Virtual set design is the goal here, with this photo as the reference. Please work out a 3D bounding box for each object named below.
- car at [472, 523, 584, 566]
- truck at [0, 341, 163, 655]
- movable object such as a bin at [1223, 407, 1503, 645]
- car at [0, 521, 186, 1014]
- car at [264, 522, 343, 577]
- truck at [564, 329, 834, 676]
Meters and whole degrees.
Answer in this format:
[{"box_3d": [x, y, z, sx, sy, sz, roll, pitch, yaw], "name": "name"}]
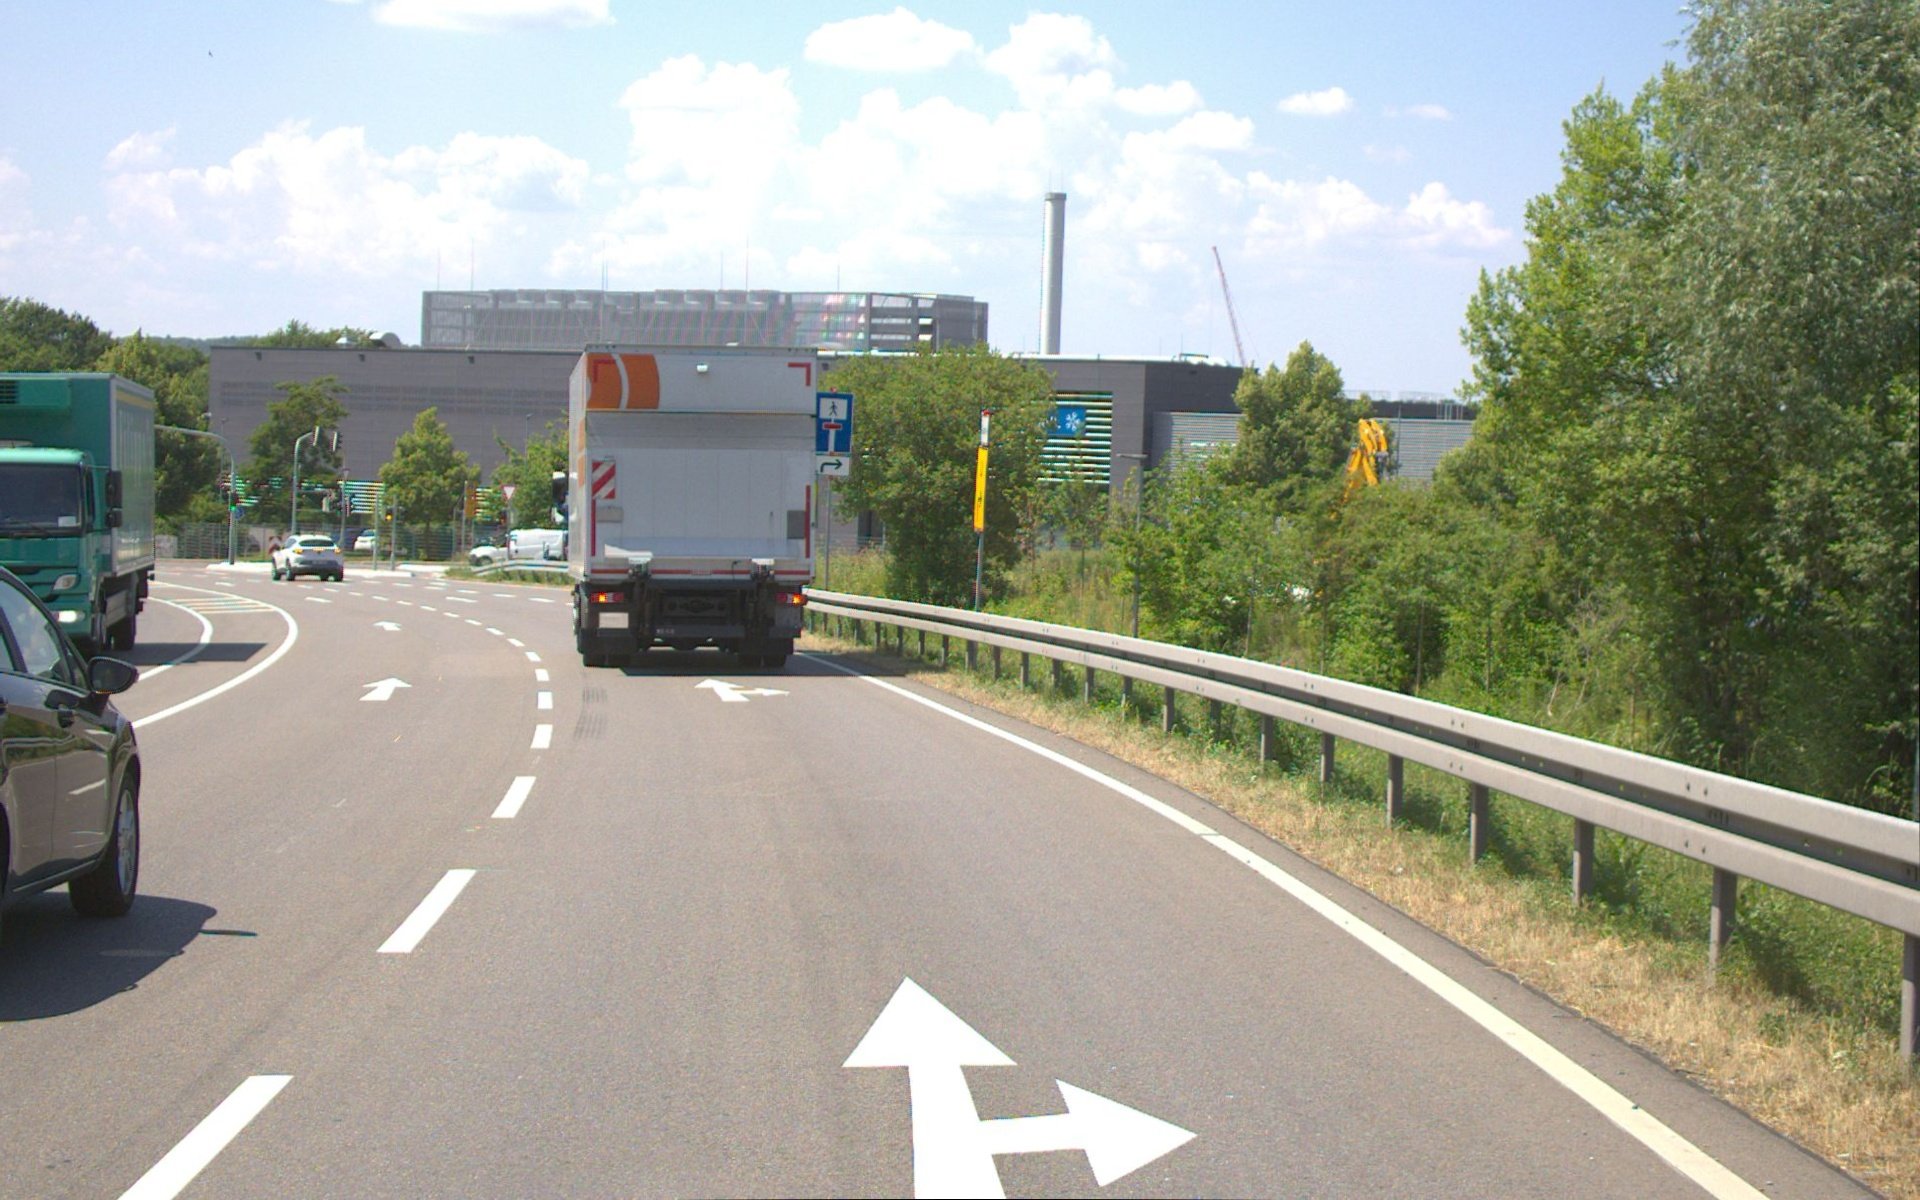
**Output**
[{"box_3d": [-19.744, -2.531, 157.228, 4.746, 1.925, 2.153, 1, 1, 4], "name": "car"}, {"box_3d": [-11.885, -1.261, 43.588, 2.868, 3.562, 9.434, 0, 1, -9], "name": "truck"}, {"box_3d": [9.616, -1.931, 83.460, 3.423, 5.242, 9.233, 2, 3, -14], "name": "movable object such as a bin"}, {"box_3d": [-3.956, 0.498, 12.298, 1.653, 1.488, 4.209, 1, 2, -4], "name": "car"}, {"box_3d": [-21.647, -1.677, 113.280, 1.943, 1.658, 4.001, 3, 1, -19], "name": "car"}, {"box_3d": [-3.349, -1.193, 41.792, 2.803, 3.698, 9.110, 1, 2, -7], "name": "truck"}]
